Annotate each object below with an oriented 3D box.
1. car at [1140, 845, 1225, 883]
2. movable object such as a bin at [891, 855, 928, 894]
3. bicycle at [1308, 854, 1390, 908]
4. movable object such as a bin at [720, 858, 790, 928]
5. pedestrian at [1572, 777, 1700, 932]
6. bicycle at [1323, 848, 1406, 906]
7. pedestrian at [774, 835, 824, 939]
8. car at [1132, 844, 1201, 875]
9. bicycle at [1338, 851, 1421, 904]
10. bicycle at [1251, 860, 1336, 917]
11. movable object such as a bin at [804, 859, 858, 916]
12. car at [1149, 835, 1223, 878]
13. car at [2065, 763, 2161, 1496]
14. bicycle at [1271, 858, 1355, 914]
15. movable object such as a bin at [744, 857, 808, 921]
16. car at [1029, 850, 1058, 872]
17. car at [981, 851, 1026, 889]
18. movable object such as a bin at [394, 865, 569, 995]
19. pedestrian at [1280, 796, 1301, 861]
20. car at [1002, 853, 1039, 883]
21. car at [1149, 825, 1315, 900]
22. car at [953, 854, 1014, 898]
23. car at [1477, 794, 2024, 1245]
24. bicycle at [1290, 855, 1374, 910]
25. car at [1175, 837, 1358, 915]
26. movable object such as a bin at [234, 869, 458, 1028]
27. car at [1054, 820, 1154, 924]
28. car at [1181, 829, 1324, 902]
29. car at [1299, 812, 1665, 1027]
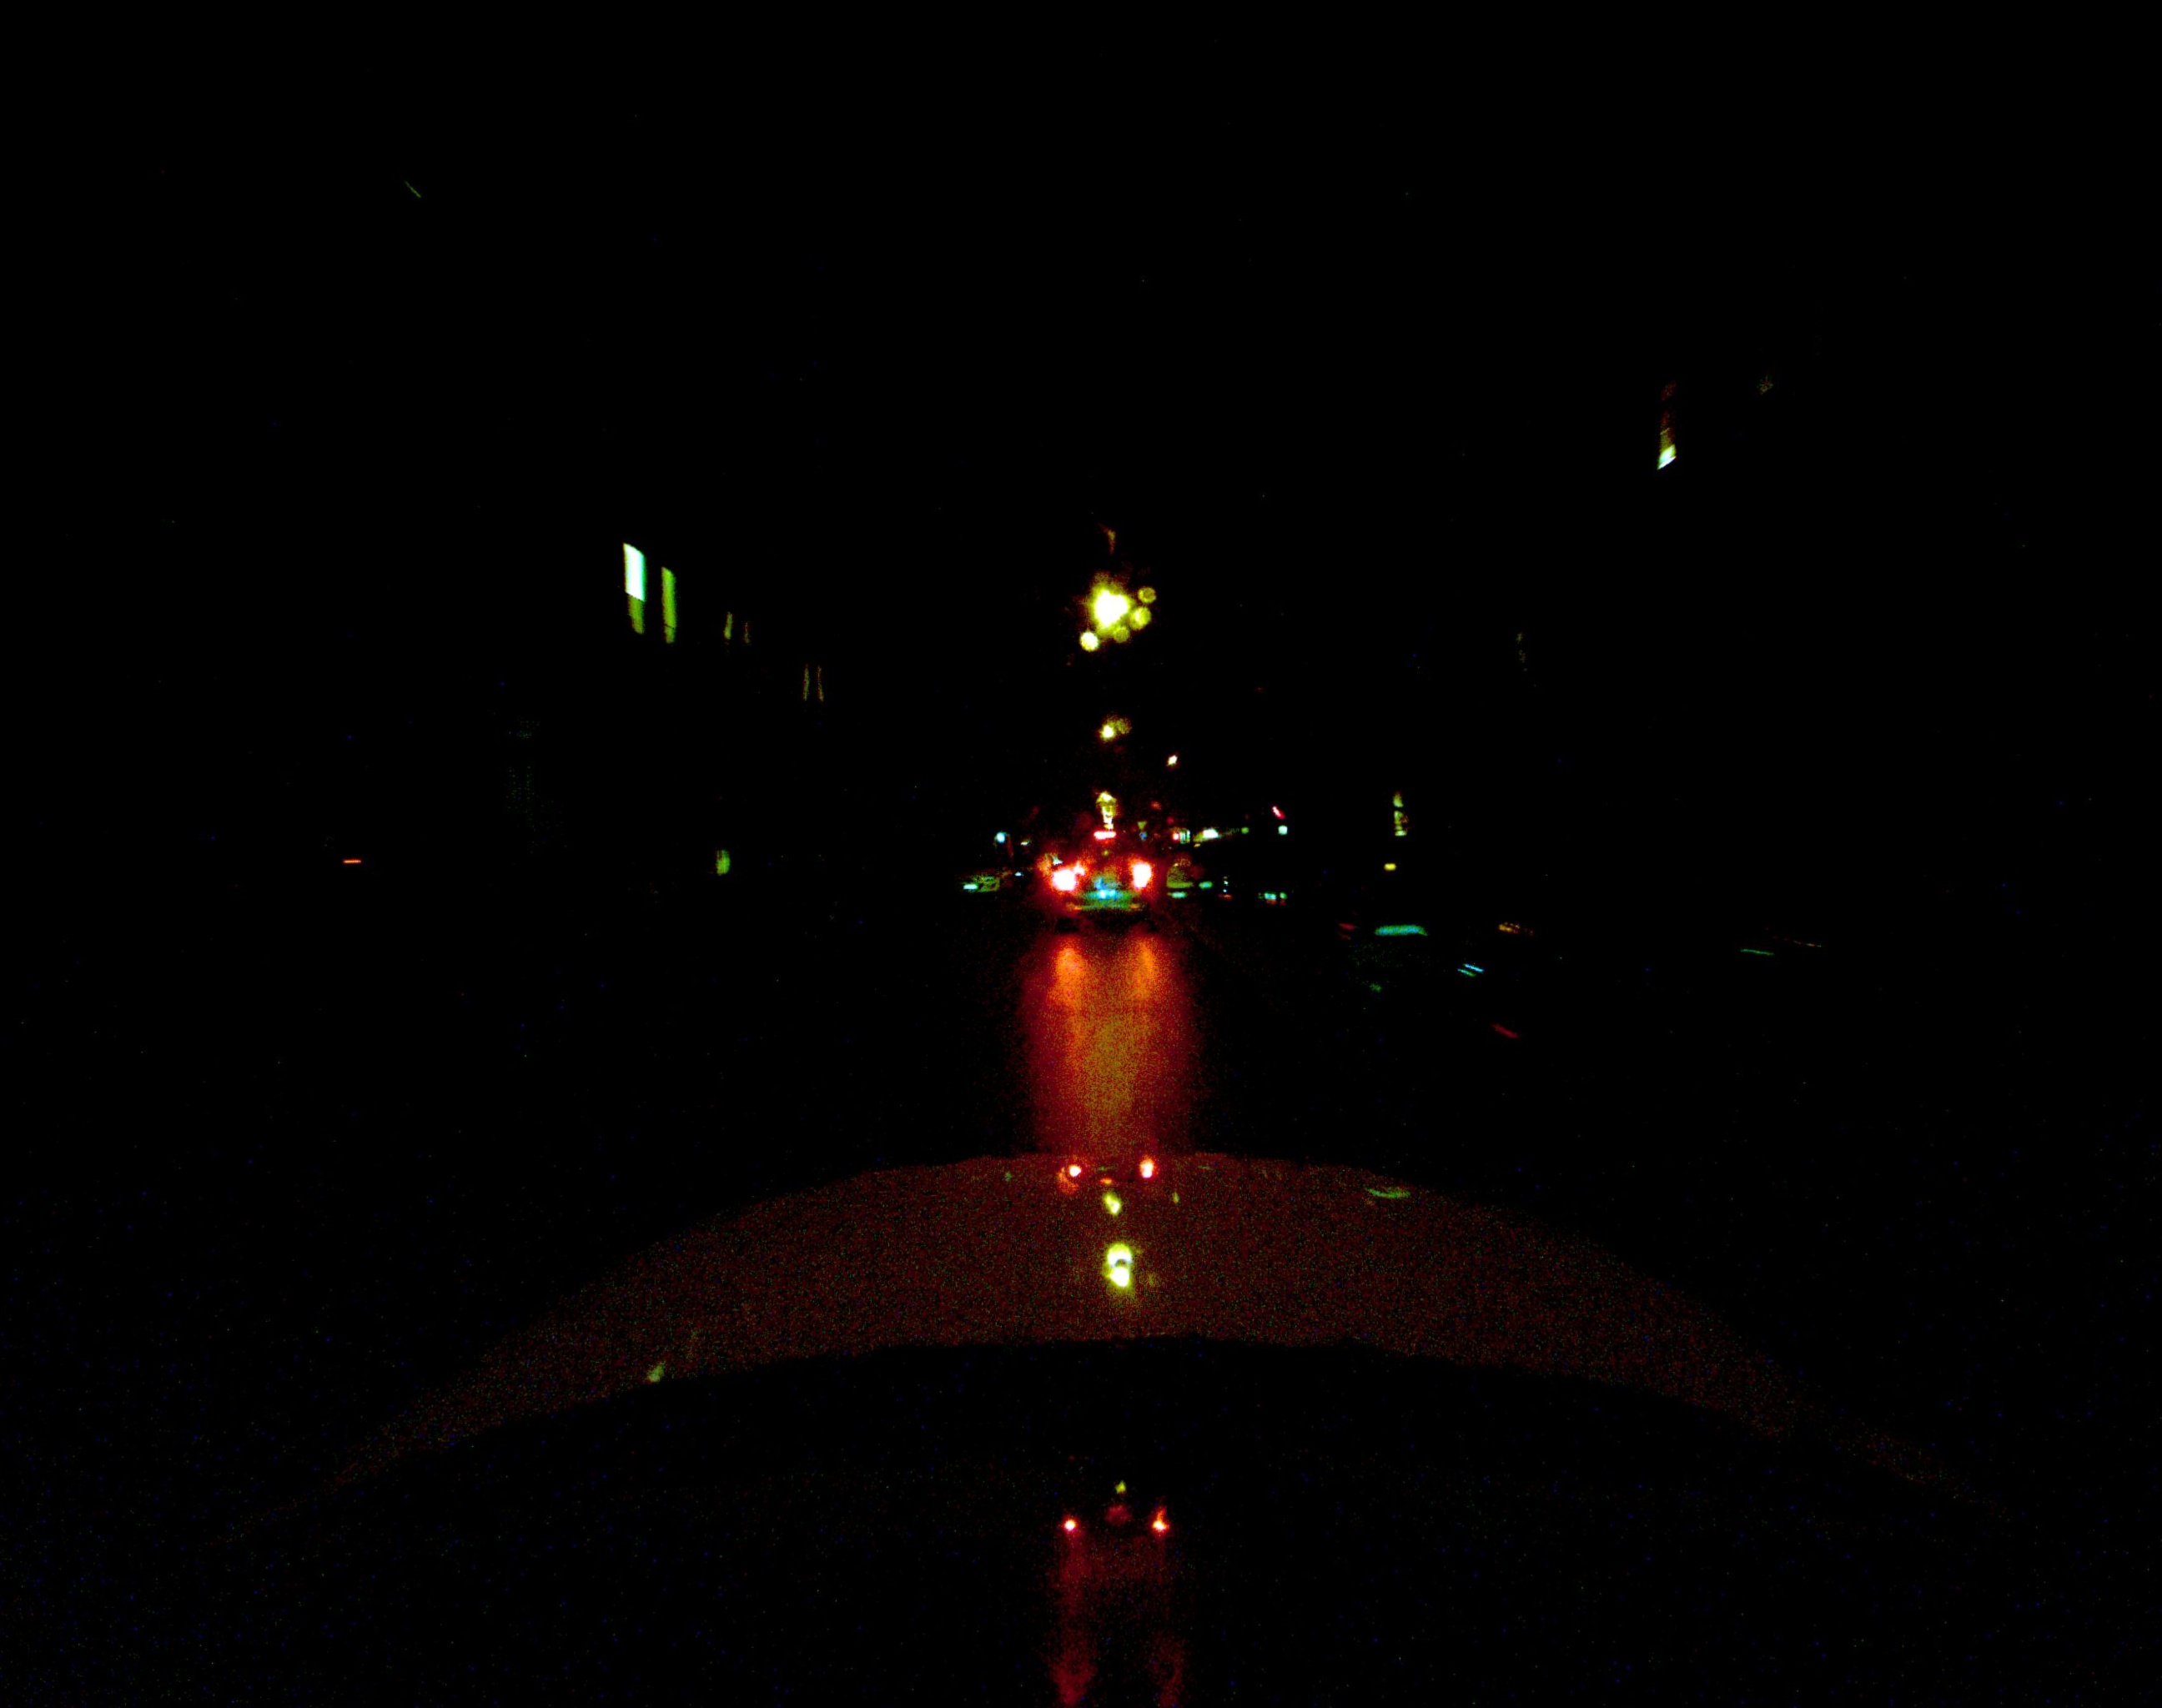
[{"bbox_3d":[4.648,0.440,37.336,3.580,1.453,1.655,-4,0,-34],"label":"car"},{"bbox_3d":[-6.260,0.732,29.832,1.043,1.398,1.159,0,0,4],"label":"movable object such as a bin"},{"bbox_3d":[5.735,0.570,17.525,0.448,1.076,1.810,-3,0,-29],"label":"bicycle"},{"bbox_3d":[-6.883,0.797,17.262,0.970,1.419,1.134,0,0,4],"label":"movable object such as a bin"},{"bbox_3d":[7.181,0.002,10.595,0.866,1.855,0.993,-4,0,-1],"label":"pedestrian"},{"bbox_3d":[6.143,0.493,17.767,0.448,1.191,1.810,-3,0,-29],"label":"bicycle"},{"bbox_3d":[-5.090,0.573,14.732,0.589,1.820,0.795,1,0,2],"label":"pedestrian"},{"bbox_3d":[4.788,0.304,45.462,3.580,1.591,1.588,-2,-1,-35],"label":"car"},{"bbox_3d":[6.554,0.515,17.986,0.448,1.076,1.810,-3,0,-29],"label":"bicycle"},{"bbox_3d":[4.329,0.693,16.726,0.521,1.076,1.810,-3,0,-29],"label":"bicycle"},{"bbox_3d":[-6.328,0.830,20.675,0.970,1.398,1.134,0,0,4],"label":"movable object such as a bin"},{"bbox_3d":[5.472,0.108,42.420,3.581,1.990,1.588,-4,0,-35],"label":"car"},{"bbox_3d":[4.243,0.536,1.972,3.661,1.580,1.579,-2,0,-27],"label":"car"},{"bbox_3d":[4.813,0.657,17.009,0.521,1.076,1.810,-3,0,-29],"label":"bicycle"},{"bbox_3d":[-6.930,0.774,18.539,0.970,1.419,1.134,0,0,4],"label":"movable object such as a bin"},{"bbox_3d":[-2.969,0.533,65.222,1.876,1.685,4.002,-1,0,2],"label":"car"},{"bbox_3d":[-3.374,0.664,35.852,1.651,1.557,4.074,-1,0,-2],"label":"car"},{"bbox_3d":[-7.088,0.856,9.714,1.136,1.419,1.250,0,0,4],"label":"movable object such as a bin"},{"bbox_3d":[11.424,-1.385,44.371,0.888,3.527,0.791,-1,0,2],"label":"pedestrian"},{"bbox_3d":[-3.330,0.746,45.622,1.808,1.557,4.074,-1,0,-2],"label":"car"},{"bbox_3d":[4.684,0.216,25.130,4.813,2.048,2.047,-2,0,-29],"label":"car"},{"bbox_3d":[-3.571,0.761,30.418,1.580,1.482,3.796,-1,0,3],"label":"car"},{"bbox_3d":[3.949,0.541,4.603,3.671,1.580,1.574,-2,0,-38],"label":"car"},{"bbox_3d":[5.293,0.597,17.283,0.521,1.076,1.810,-3,0,-29],"label":"bicycle"},{"bbox_3d":[4.439,0.479,19.451,4.007,1.492,1.720,-4,0,-25],"label":"car"},{"bbox_3d":[-7.132,0.867,7.984,1.136,1.419,1.155,0,0,4],"label":"movable object such as a bin"},{"bbox_3d":[0.537,0.382,18.502,1.986,2.050,4.002,-2,-1,2],"label":"car"},{"bbox_3d":[4.742,0.293,22.487,3.574,1.711,1.631,-4,0,-27],"label":"car"},{"bbox_3d":[4.104,0.497,8.167,3.668,1.580,1.576,-4,0,-33],"label":"car"}]
